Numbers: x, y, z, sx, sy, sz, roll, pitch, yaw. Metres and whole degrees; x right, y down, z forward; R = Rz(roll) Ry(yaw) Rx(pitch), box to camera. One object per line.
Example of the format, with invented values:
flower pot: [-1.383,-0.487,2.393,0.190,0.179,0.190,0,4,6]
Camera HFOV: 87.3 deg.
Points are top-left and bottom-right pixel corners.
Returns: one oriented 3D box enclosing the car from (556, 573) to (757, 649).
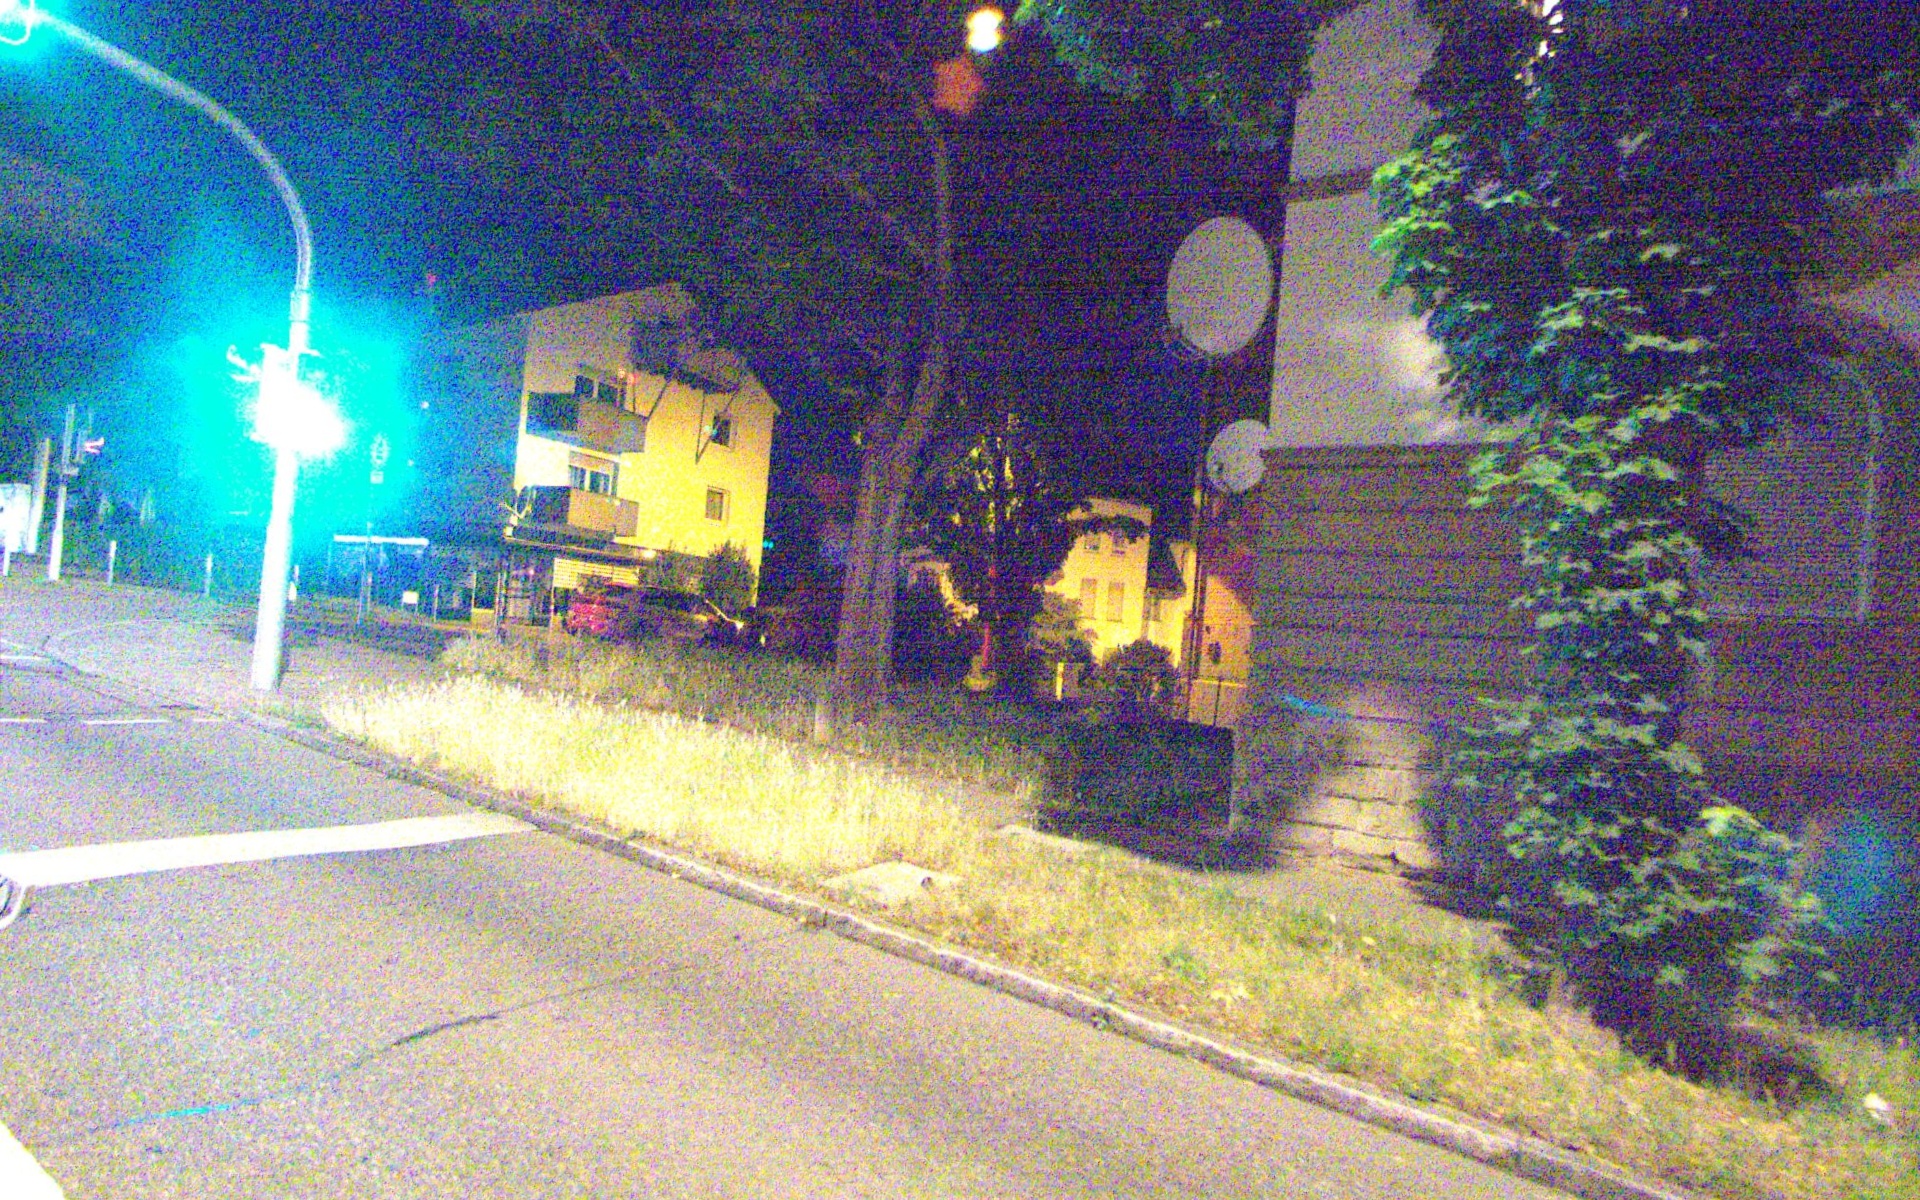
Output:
car: [-6.950,0.304,23.368,1.740,1.295,4.129,6,-1,39]
